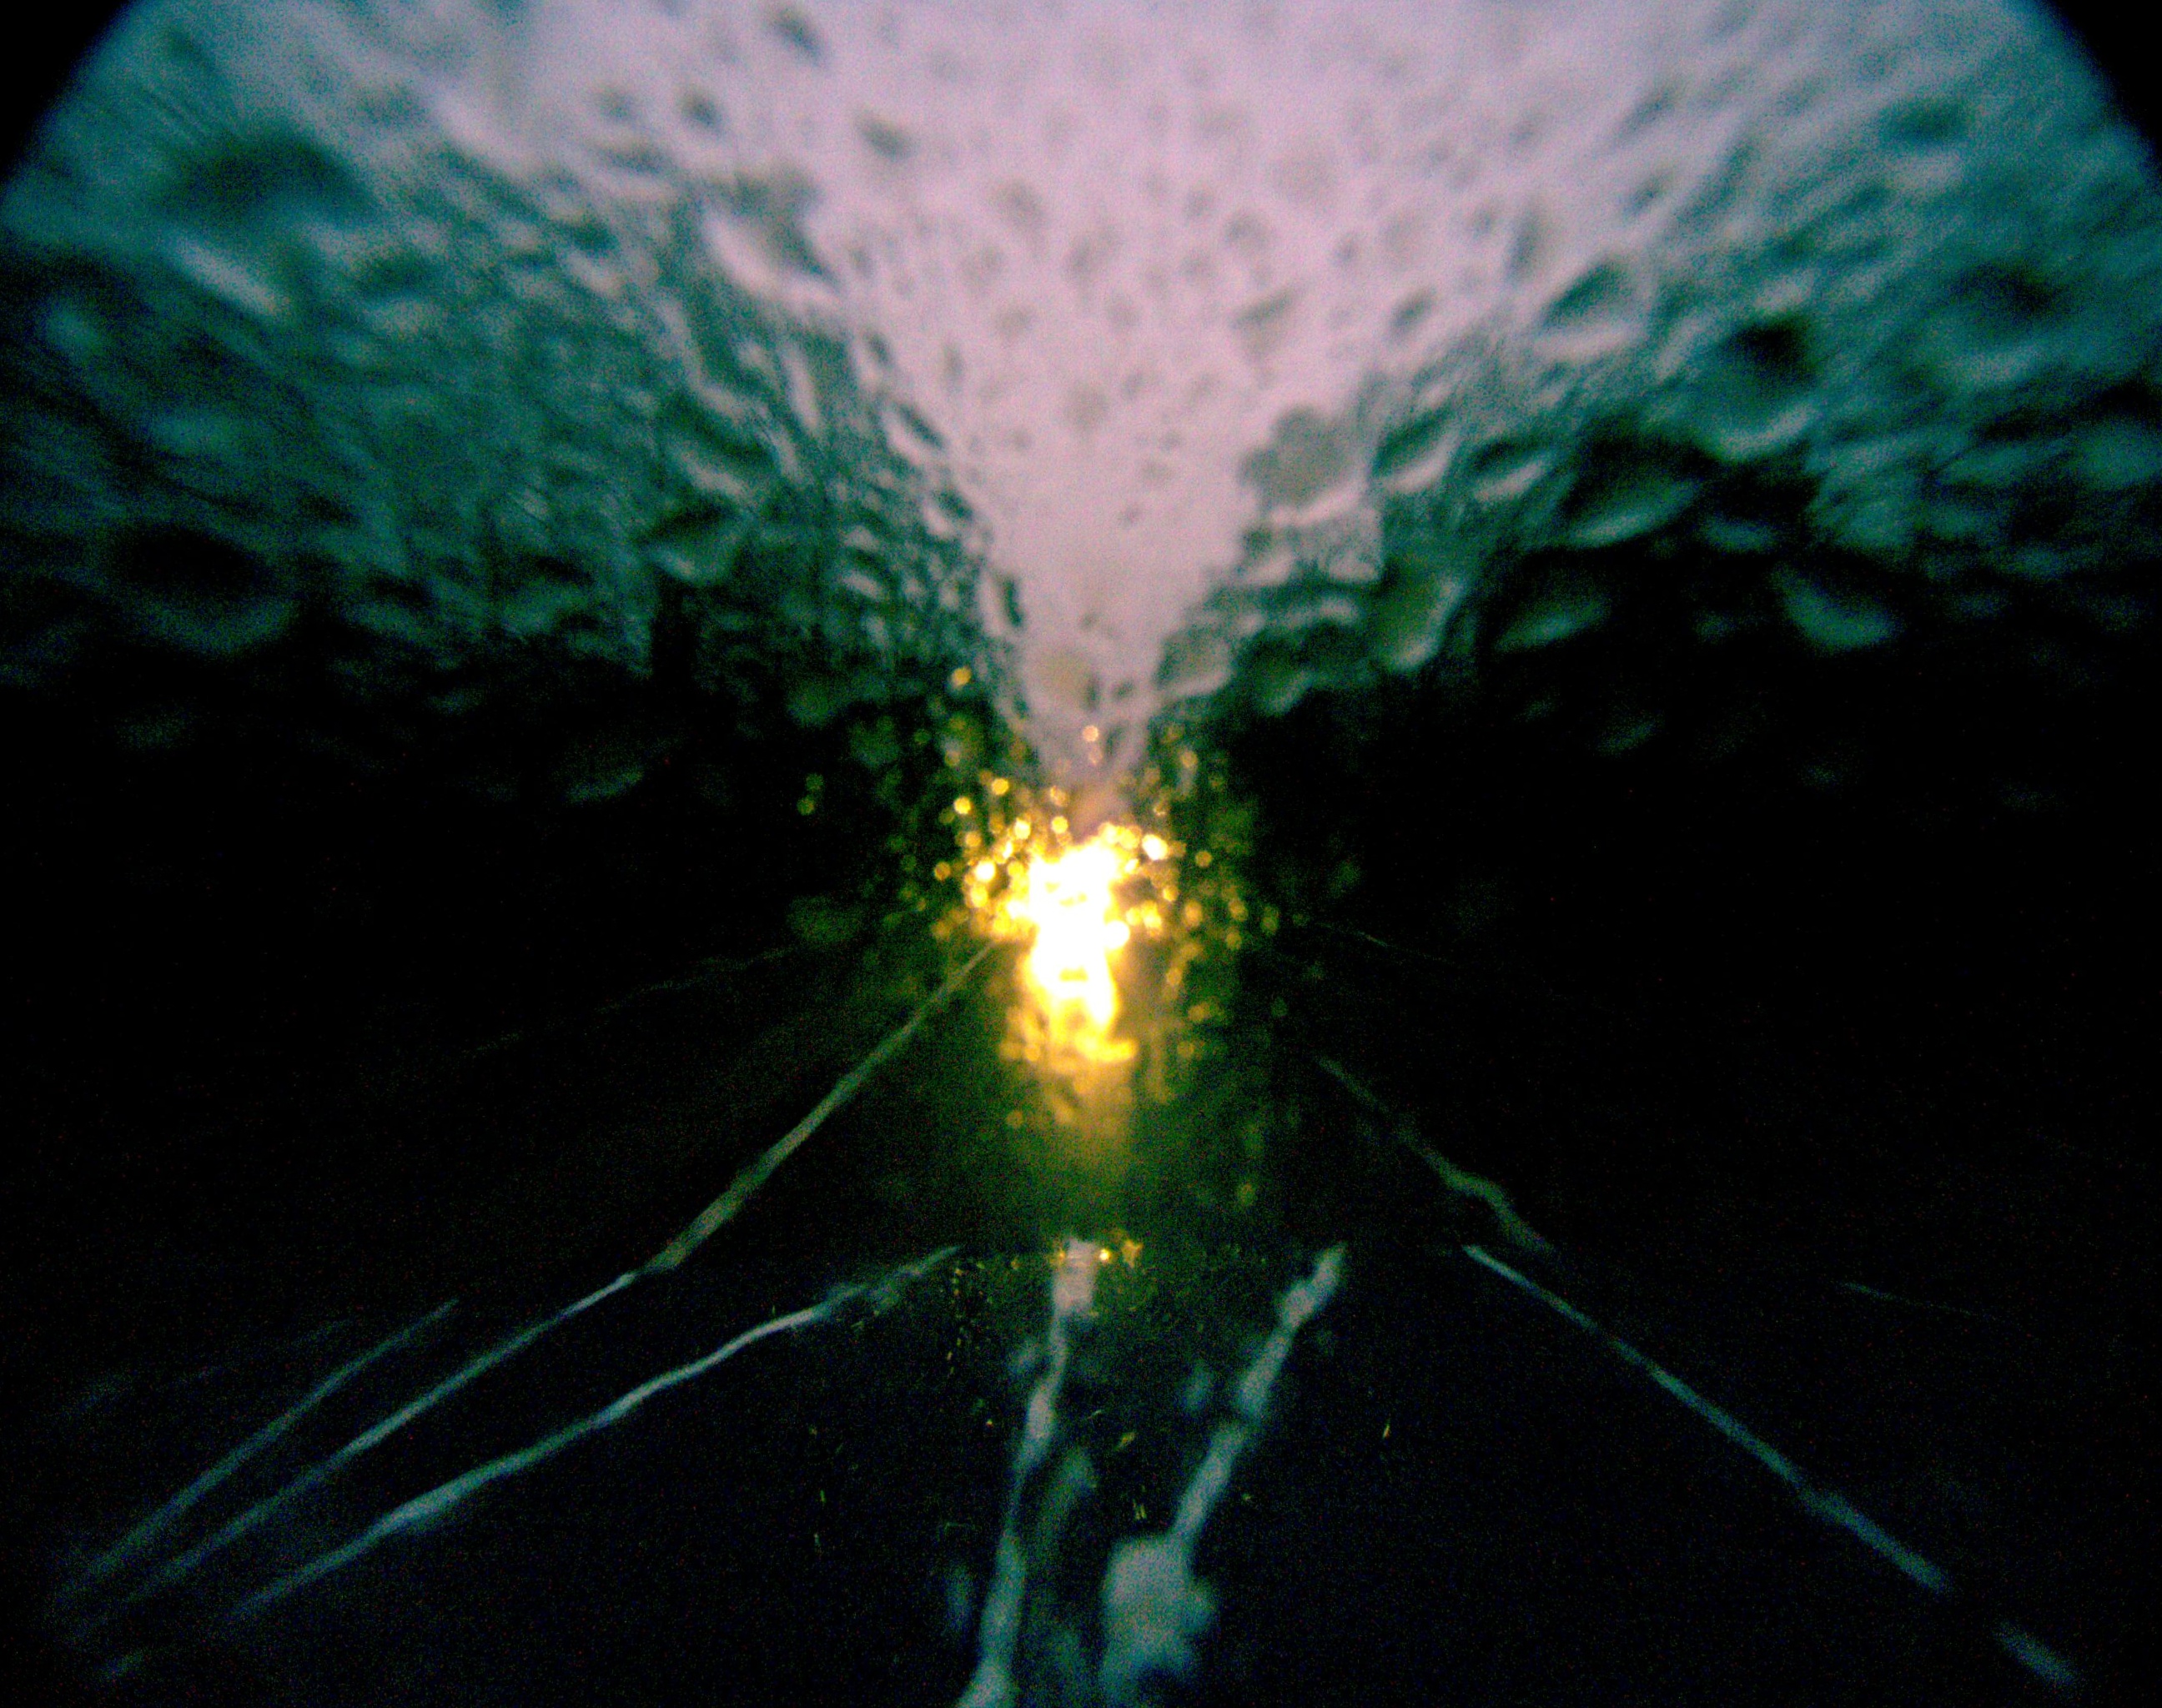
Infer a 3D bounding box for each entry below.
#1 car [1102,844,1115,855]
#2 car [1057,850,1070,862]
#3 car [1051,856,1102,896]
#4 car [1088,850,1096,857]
[{"bbox_3d":[4.805,-0.808,133.903,1.998,2.002,3.999,-2,1,0],"label":"car"},{"bbox_3d":[-3.031,0.292,129.898,1.998,2.002,3.999,-2,1,0],"label":"car"},{"bbox_3d":[-0.109,0.812,29.822,1.845,1.390,4.000,-1,0,1],"label":"car"},{"bbox_3d":[2.726,-0.037,190.542,1.998,1.652,3.999,-2,1,0],"label":"car"}]
